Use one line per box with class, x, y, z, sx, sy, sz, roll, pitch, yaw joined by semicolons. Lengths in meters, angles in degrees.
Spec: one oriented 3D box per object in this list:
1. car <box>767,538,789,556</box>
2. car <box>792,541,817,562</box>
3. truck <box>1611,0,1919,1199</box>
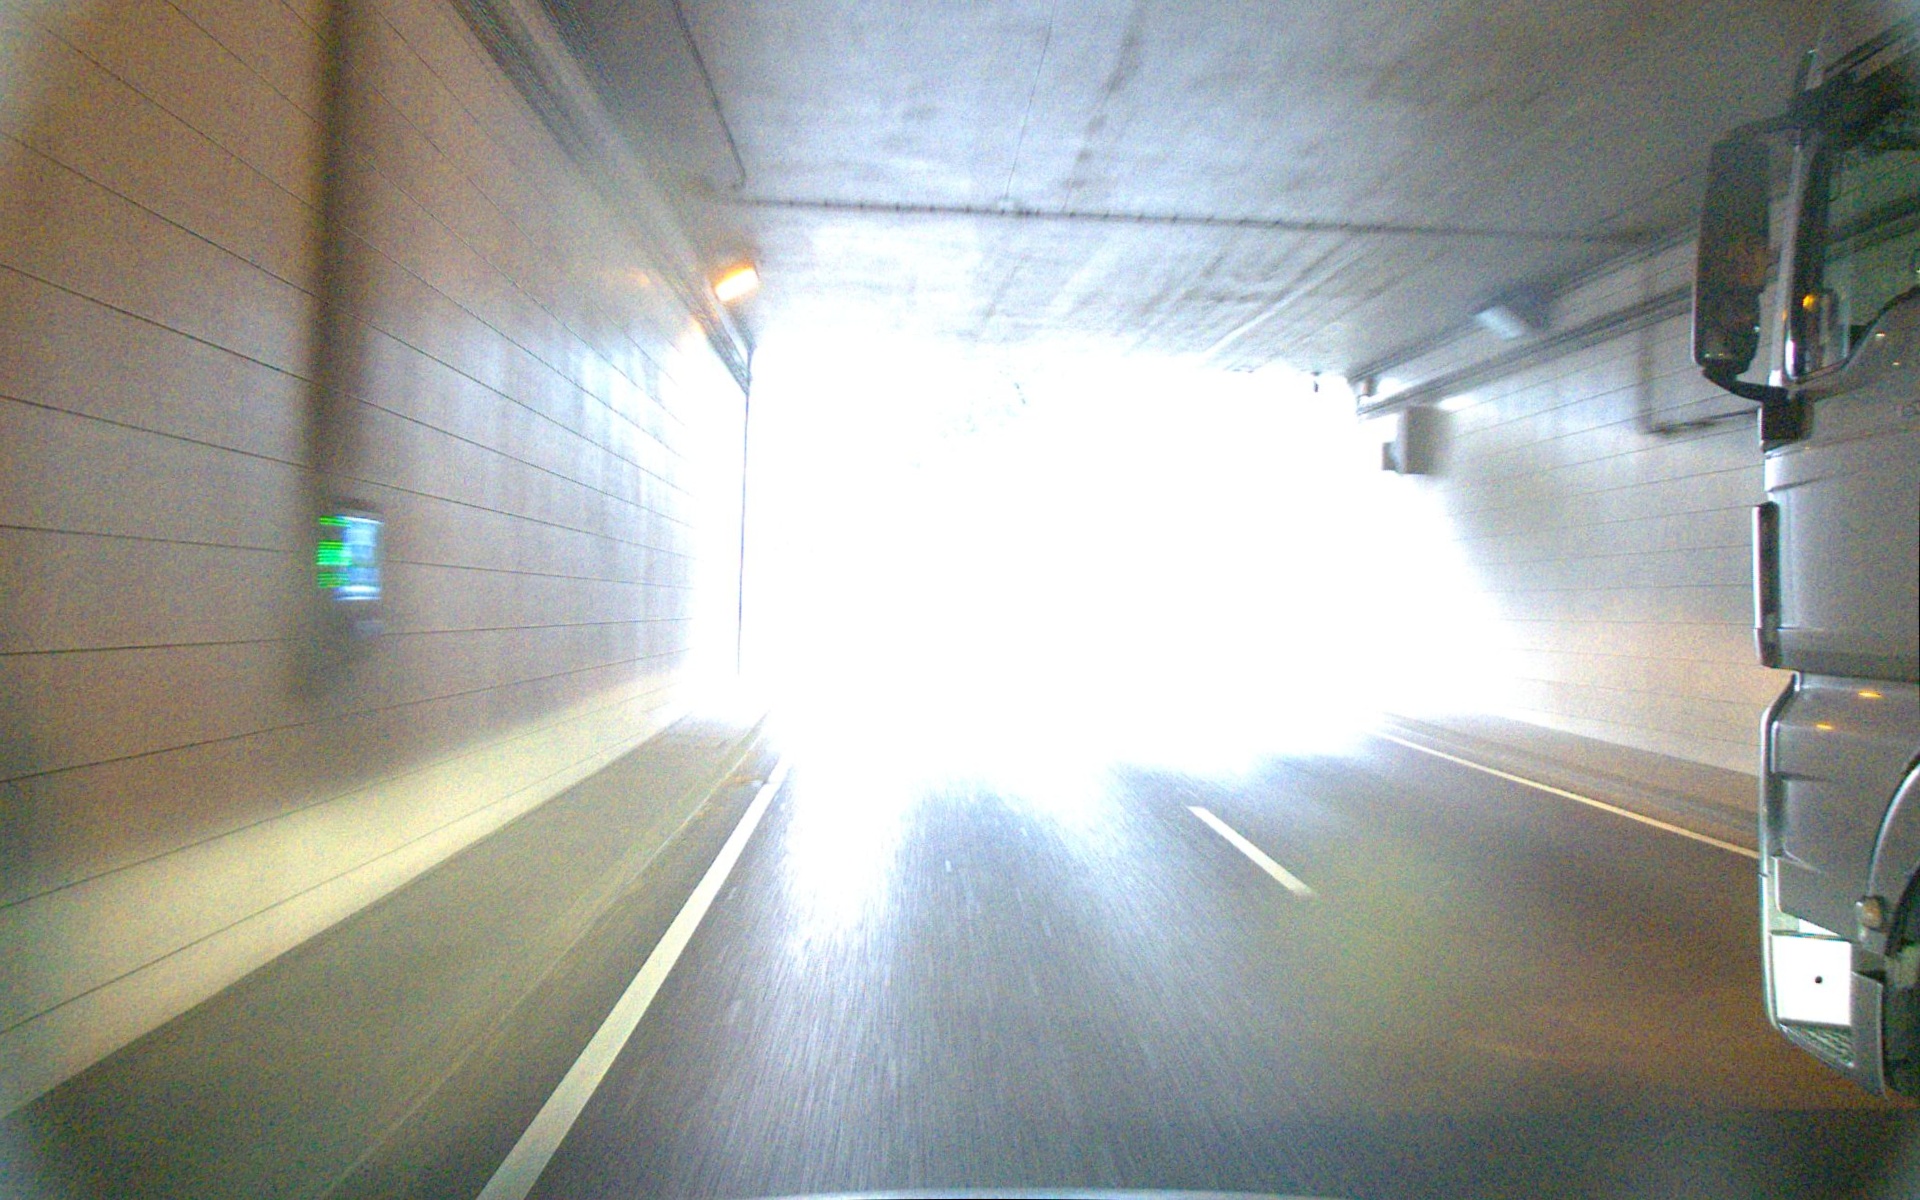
car;-16.336;-4.771;148.447;1.807;1.413;3.992;2;0;-9
car;-14.414;-4.469;153.417;1.836;1.763;3.989;2;0;-12
truck;3.592;-0.533;0.130;2.830;3.982;9.905;2;0;-2
